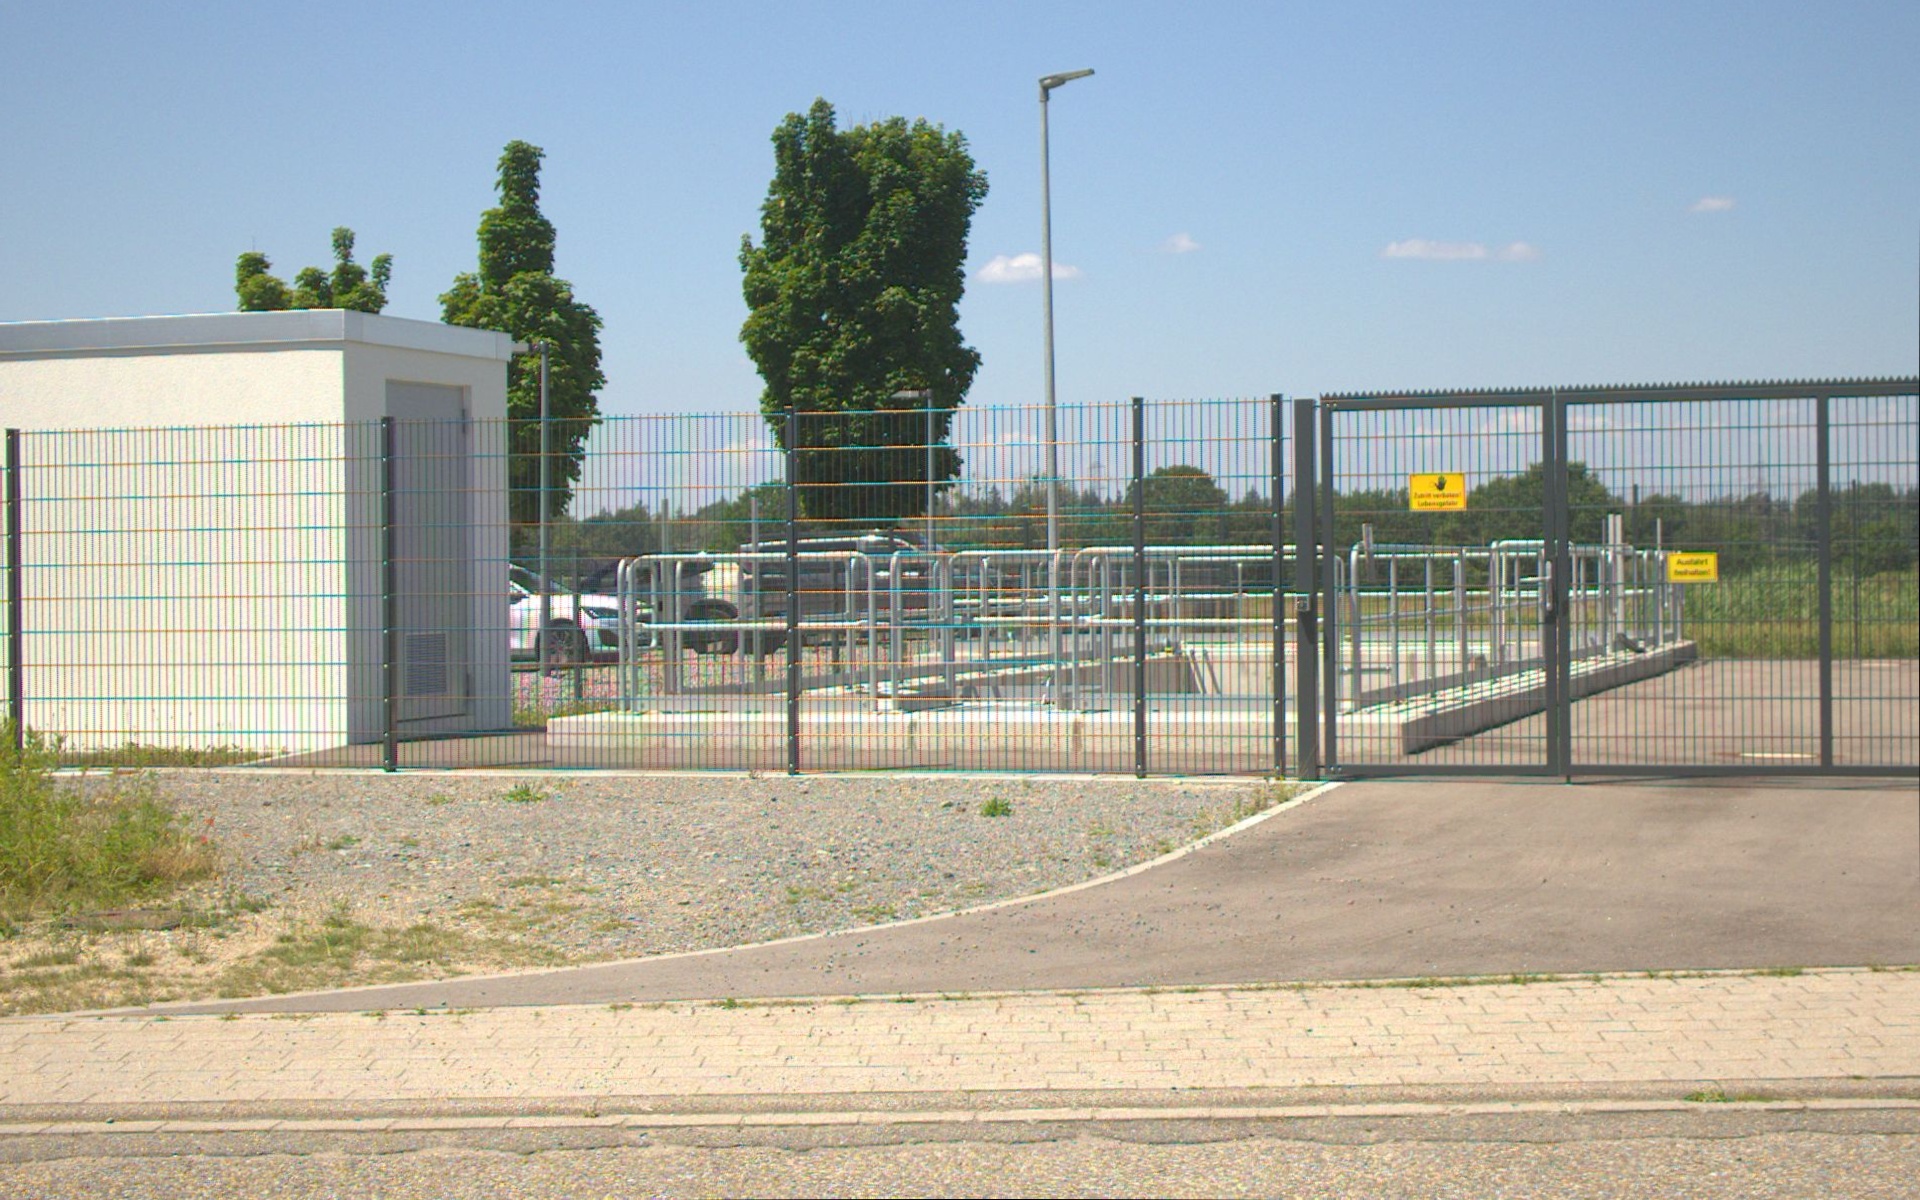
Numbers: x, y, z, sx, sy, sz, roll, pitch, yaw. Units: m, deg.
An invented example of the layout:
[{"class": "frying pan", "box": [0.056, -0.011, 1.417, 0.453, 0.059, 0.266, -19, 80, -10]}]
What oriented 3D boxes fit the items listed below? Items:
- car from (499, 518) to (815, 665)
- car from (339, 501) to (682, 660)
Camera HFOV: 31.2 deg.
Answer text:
[{"class": "car", "box": [-4.312, -0.126, 49.048, 3.990, 2.007, 1.998, -1, 1, 19]}, {"class": "car", "box": [-5.907, -0.253, 45.314, 3.990, 2.007, 1.998, -1, 1, 19]}]
